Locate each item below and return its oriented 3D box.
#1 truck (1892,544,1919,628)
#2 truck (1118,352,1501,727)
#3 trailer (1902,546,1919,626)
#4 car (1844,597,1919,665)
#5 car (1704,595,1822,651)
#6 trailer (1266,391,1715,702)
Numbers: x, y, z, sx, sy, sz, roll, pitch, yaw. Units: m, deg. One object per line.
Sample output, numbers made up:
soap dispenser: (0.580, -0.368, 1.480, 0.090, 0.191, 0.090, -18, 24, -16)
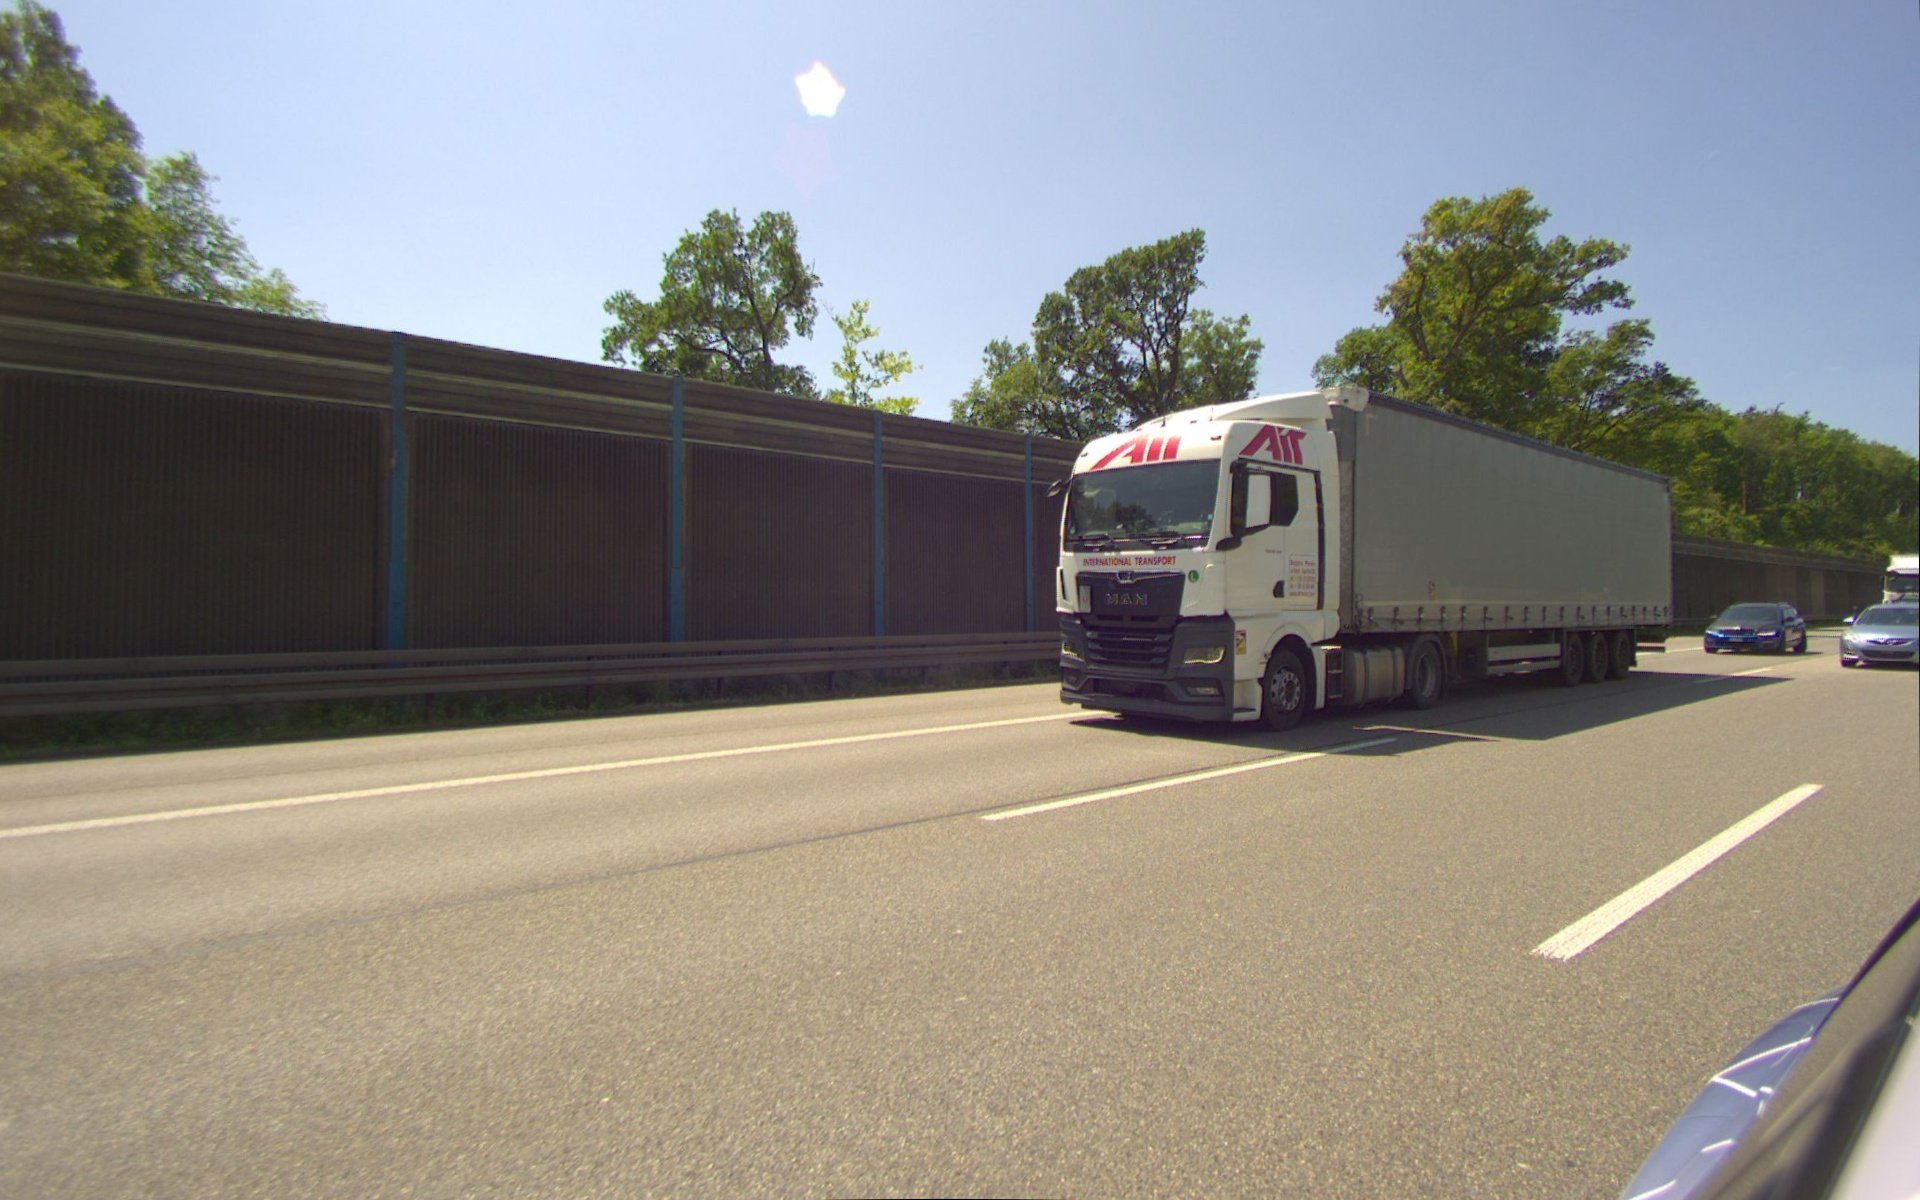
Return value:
truck: (51.303, -0.723, 52.997, 5.321, 4.269, 2.812, 0, -1, -38)
truck: (4.972, -0.699, 13.968, 5.455, 4.142, 2.603, 0, 0, -41)
trailer: (56.396, -0.735, 56.984, 13.217, 4.269, 2.821, 0, -1, -38)
car: (21.702, 0.663, 22.960, 4.102, 1.452, 1.859, 0, -1, -40)
car: (23.248, 0.631, 29.247, 4.102, 1.512, 1.859, 0, -1, -40)
trailer: (10.605, -0.771, 18.824, 13.352, 4.142, 2.603, -1, 0, -41)
